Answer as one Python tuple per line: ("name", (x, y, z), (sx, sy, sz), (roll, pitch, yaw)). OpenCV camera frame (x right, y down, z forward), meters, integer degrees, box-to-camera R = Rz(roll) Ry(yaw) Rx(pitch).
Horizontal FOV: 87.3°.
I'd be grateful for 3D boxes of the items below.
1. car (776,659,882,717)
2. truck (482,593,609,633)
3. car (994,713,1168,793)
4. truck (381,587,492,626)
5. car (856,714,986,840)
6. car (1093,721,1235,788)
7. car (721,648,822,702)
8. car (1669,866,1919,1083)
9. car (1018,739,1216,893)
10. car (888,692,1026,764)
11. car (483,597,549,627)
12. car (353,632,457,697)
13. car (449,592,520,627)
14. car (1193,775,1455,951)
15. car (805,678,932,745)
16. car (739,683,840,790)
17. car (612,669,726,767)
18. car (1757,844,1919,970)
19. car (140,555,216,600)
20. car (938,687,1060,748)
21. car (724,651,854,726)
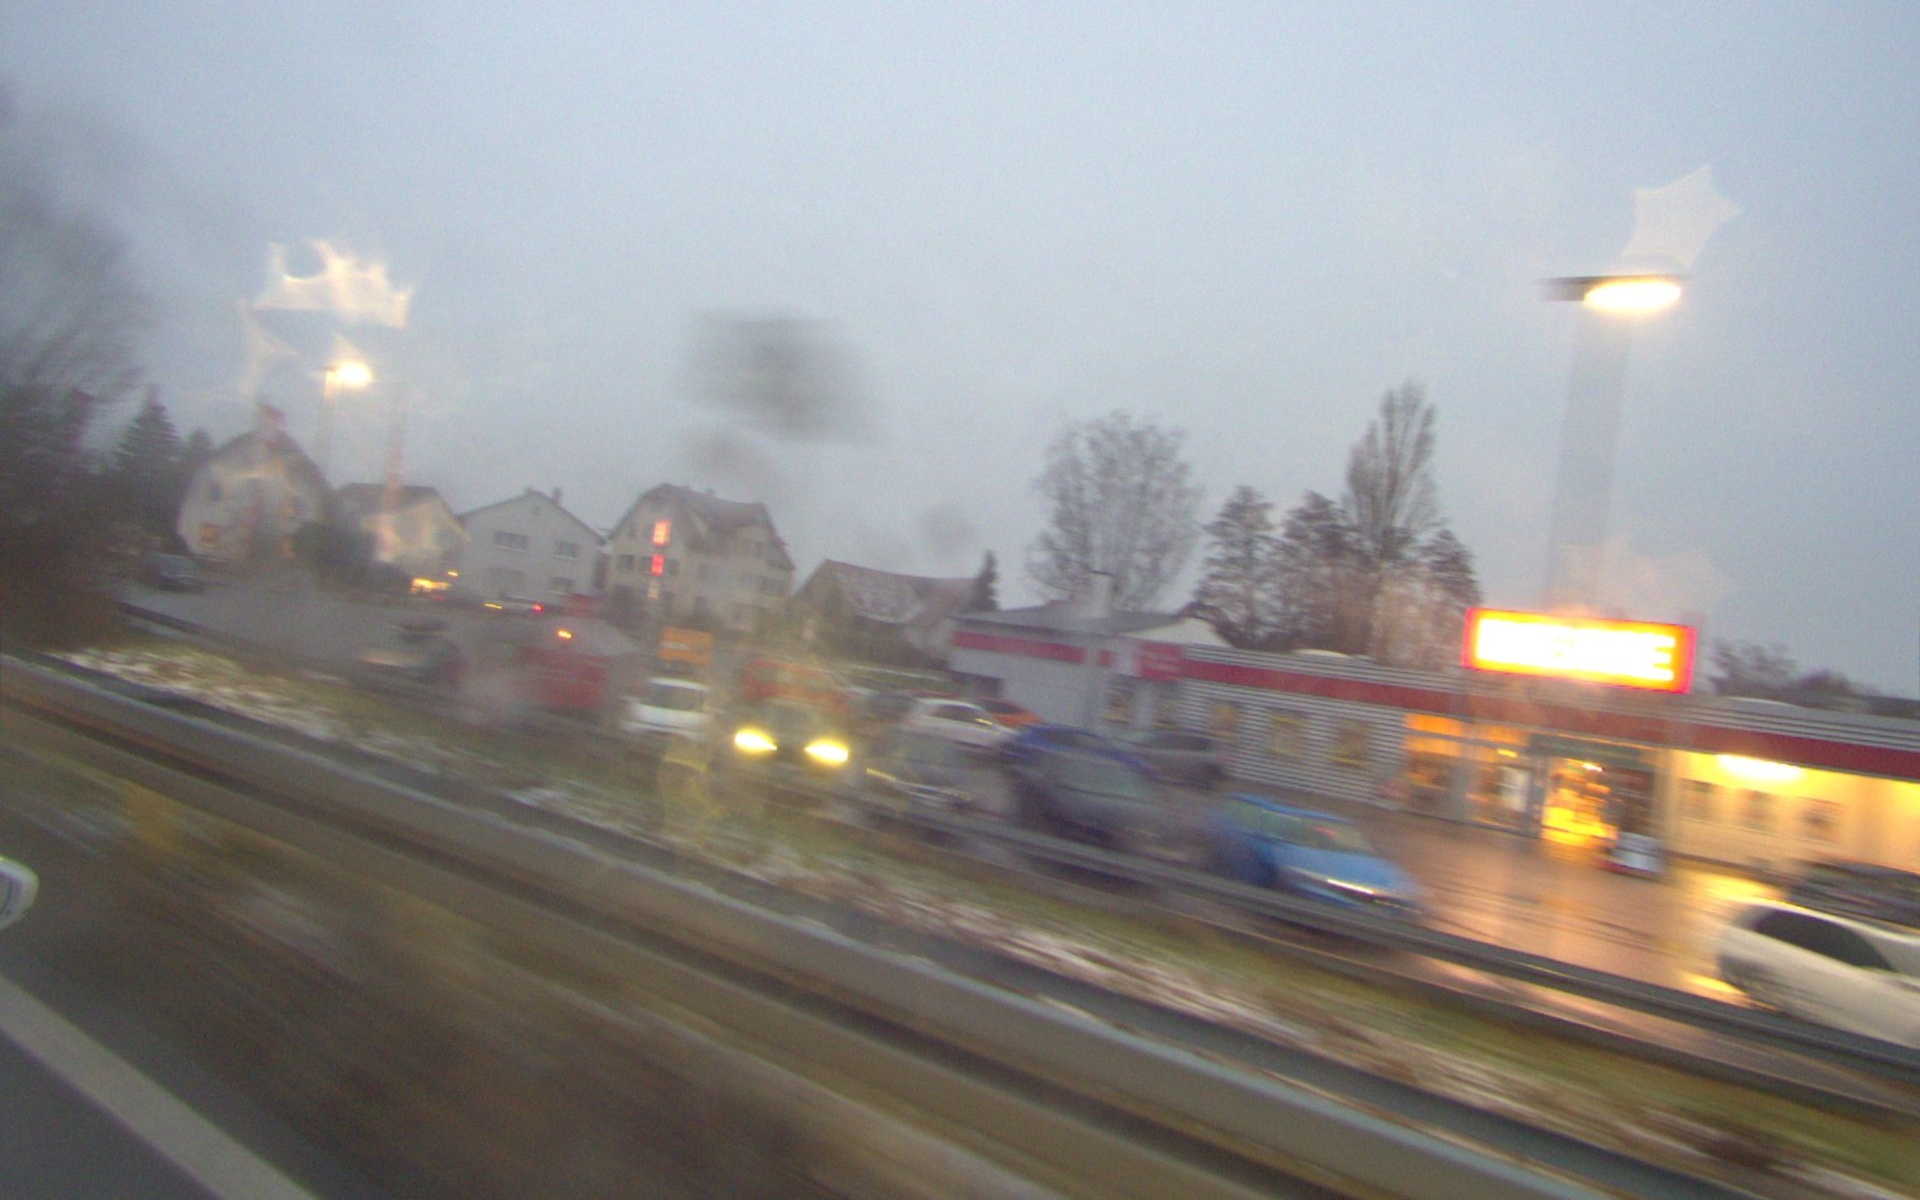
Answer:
("car", (-5.014, 3.357, 38.731), (3.773, 1.626, 1.622), (8, -1, -7))
("truck", (-31.098, 1.014, 75.639), (8.559, 1.836, 2.401), (9, -2, -25))
("car", (3.238, 4.124, 27.307), (4.243, 1.441, 1.744), (8, -1, -8))
("truck", (-31.621, 0.423, 60.914), (5.724, 1.565, 1.930), (9, -2, -28))
("car", (-0.809, 3.030, 17.874), (1.605, 1.436, 3.994), (8, -2, -10))
("car", (6.127, 4.640, 30.338), (3.777, 1.367, 1.566), (8, -1, -12))
("car", (-7.637, 3.043, 40.876), (3.777, 1.631, 1.567), (8, -1, -11))
("car", (10.746, 4.376, 11.321), (1.870, 1.413, 4.704), (7, -2, -4))
("car", (2.343, 3.354, 16.400), (1.898, 1.471, 4.587), (7, -2, -6))
("car", (-0.123, 3.703, 29.232), (3.696, 1.446, 1.568), (8, -1, -7))
("car", (-30.764, 0.832, 69.798), (3.945, 1.533, 1.905), (8, -2, -21))
("car", (-14.469, 1.646, 26.395), (1.368, 1.328, 3.203), (8, -2, -12))
("car", (-30.626, 0.594, 64.817), (3.955, 1.681, 1.930), (9, -2, -28))
("car", (5.158, 3.744, 14.955), (1.871, 1.413, 4.177), (7, -2, -6))
("car", (-2.803, 3.454, 31.331), (3.693, 1.446, 1.569), (8, -1, -2))
("car", (-3.385, 2.593, 19.837), (1.605, 1.436, 3.994), (8, -2, -10))
("car", (-6.092, 2.427, 21.455), (1.767, 1.455, 3.994), (8, -2, -10))
("car", (16.577, 5.522, 17.828), (3.568, 1.603, 1.599), (8, -2, -4))
("car", (-35.398, -1.041, 45.488), (3.945, 1.565, 1.935), (6, -2, 42))
("car", (1.333, 4.048, 34.718), (3.783, 1.517, 1.564), (9, -1, -17))
("car", (-5.693, 2.931, 33.522), (3.970, 1.890, 1.720), (8, -1, -11))
